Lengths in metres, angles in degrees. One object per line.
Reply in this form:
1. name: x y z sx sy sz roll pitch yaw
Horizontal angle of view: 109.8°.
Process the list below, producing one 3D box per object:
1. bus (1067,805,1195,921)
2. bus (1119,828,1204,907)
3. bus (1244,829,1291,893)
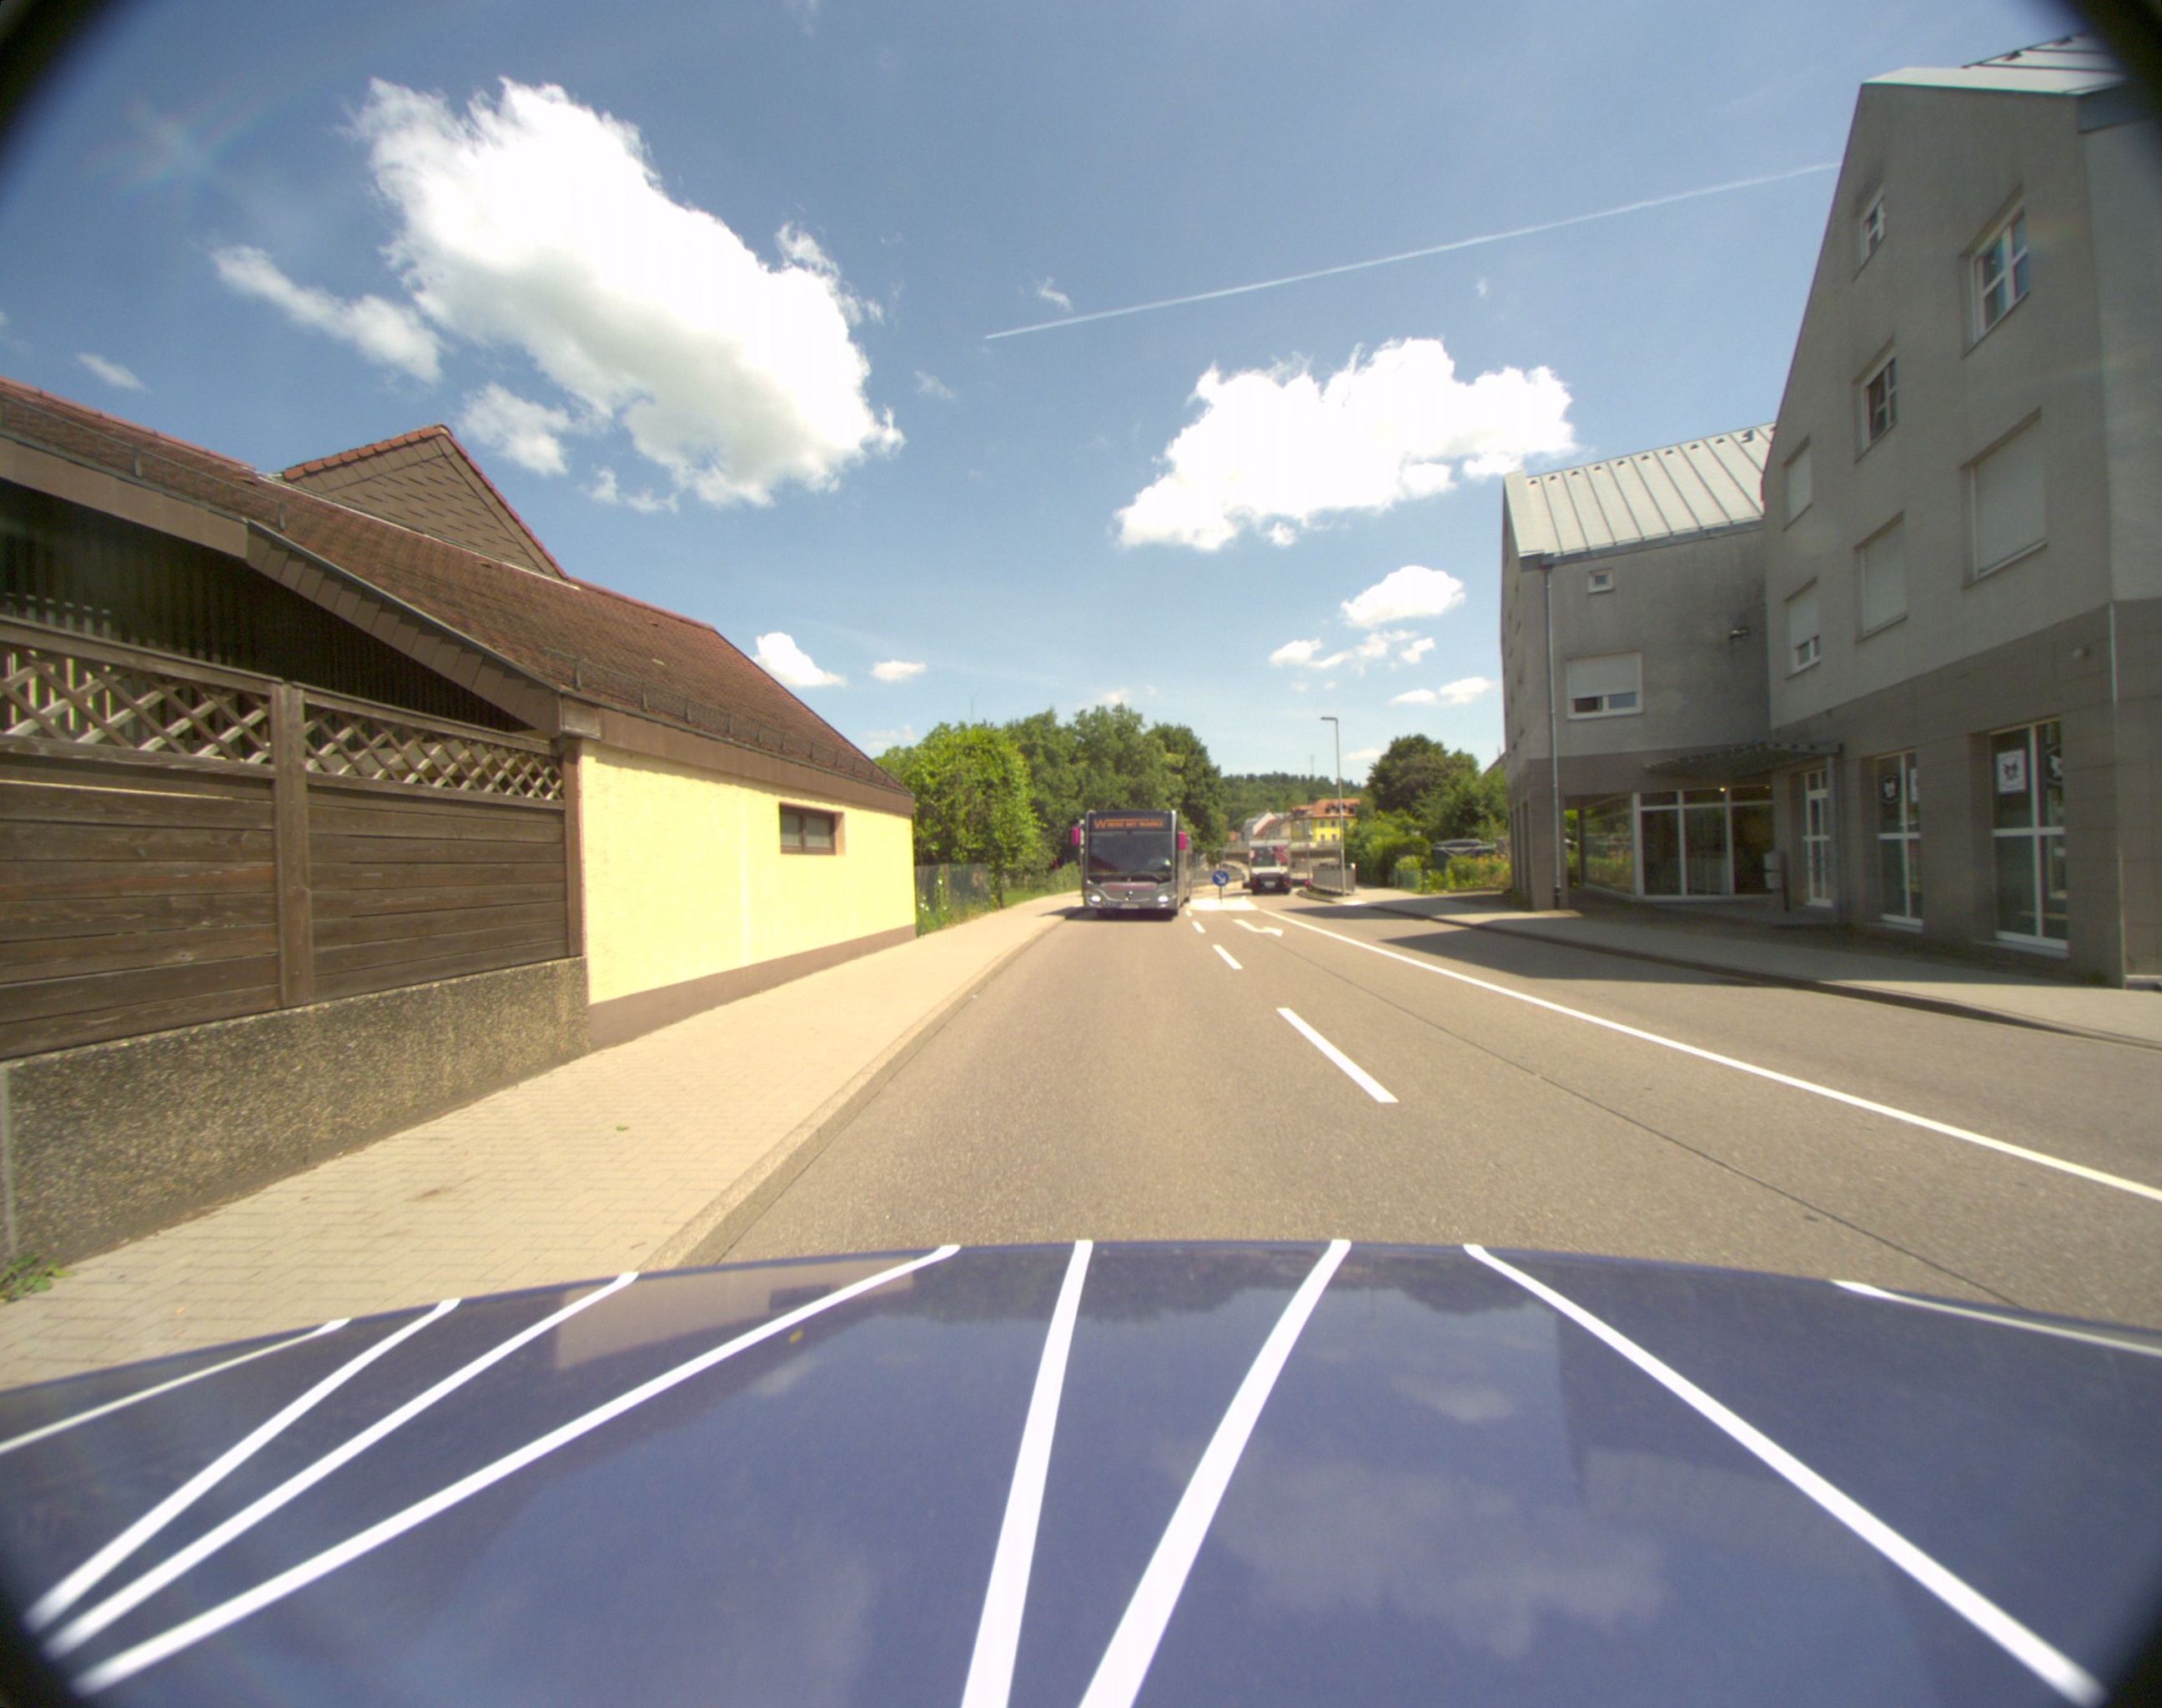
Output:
1. bus: 1.950 0.391 24.237 2.753 2.949 9.292 -1 -2 12
2. bus: 3.764 0.672 33.371 2.753 2.949 9.292 -1 -2 12
3. bus: 13.100 0.613 53.782 2.815 3.977 10.981 -2 -2 13
